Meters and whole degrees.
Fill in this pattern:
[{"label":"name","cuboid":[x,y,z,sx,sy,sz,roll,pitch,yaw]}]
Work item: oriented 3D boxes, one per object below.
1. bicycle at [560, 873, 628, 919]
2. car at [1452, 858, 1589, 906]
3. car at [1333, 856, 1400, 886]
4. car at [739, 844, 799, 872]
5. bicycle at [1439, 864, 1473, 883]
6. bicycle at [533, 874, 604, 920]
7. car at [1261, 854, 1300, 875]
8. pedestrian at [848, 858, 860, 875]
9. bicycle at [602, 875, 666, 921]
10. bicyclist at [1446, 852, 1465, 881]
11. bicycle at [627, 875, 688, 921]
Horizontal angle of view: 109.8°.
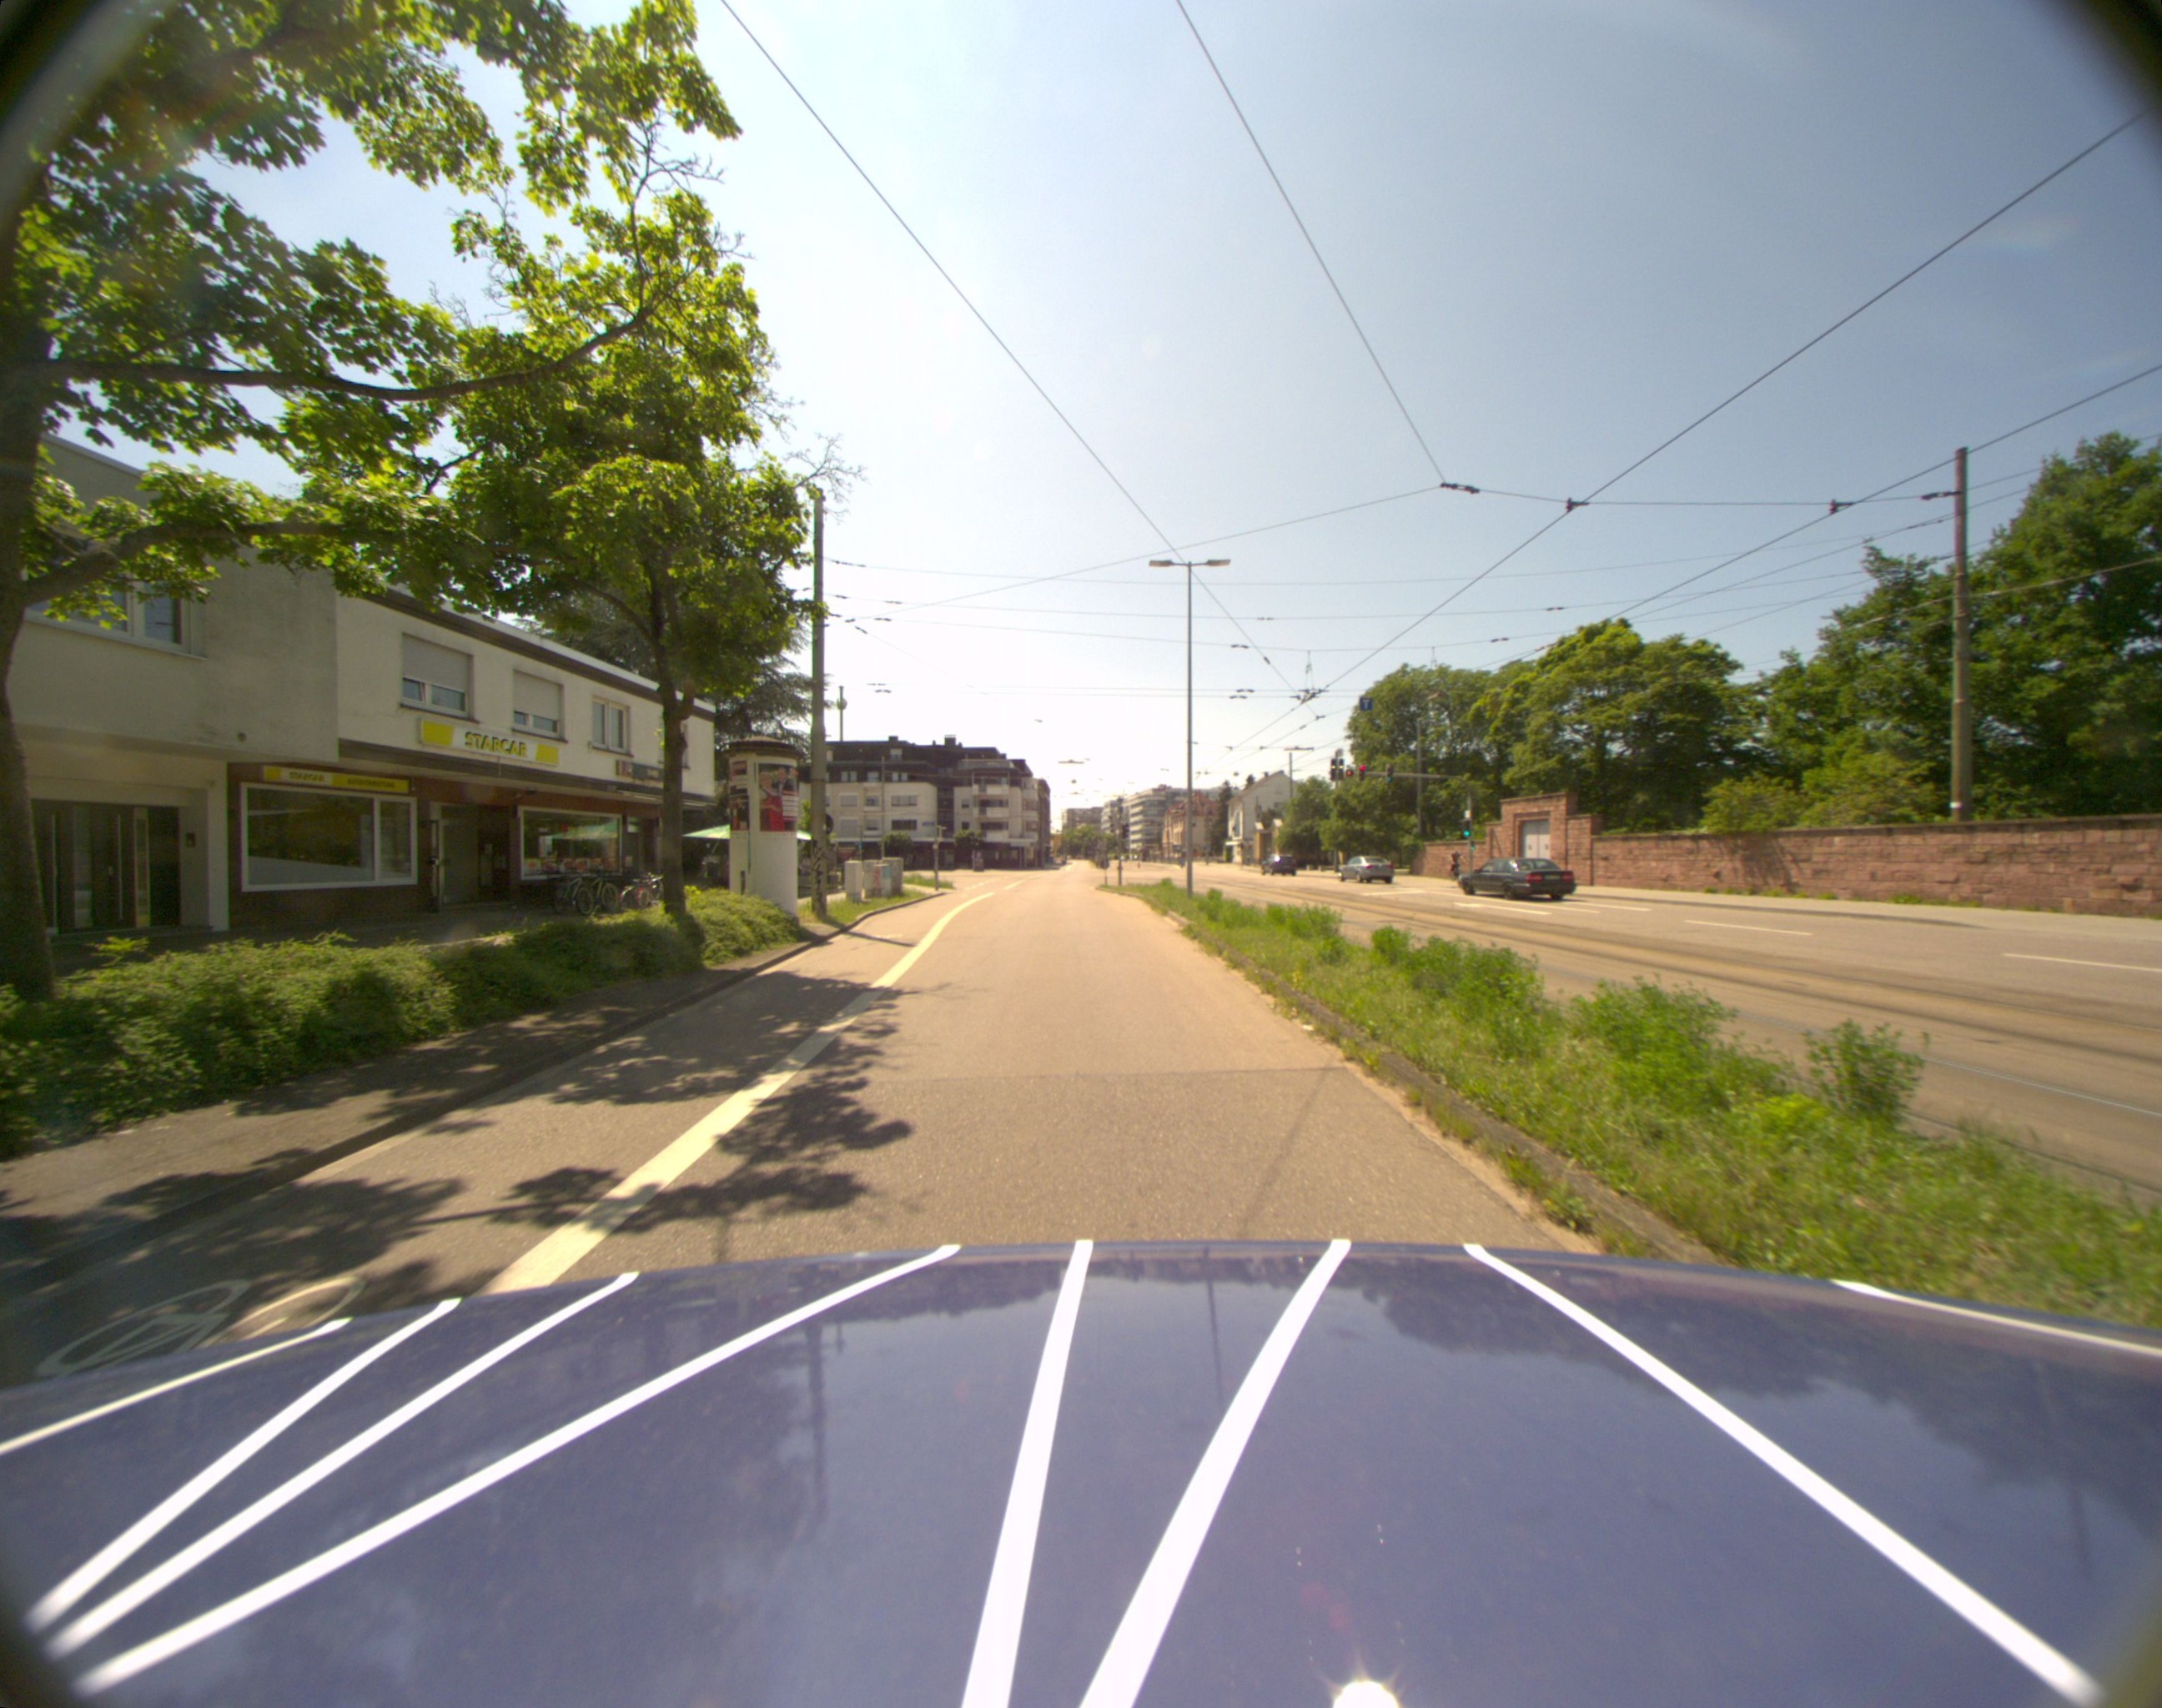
[{"label":"bicycle","cuboid":[-12.337,1.035,19.326,0.544,1.062,2.021,0,0,-4]},{"label":"car","cuboid":[15.152,0.890,26.589,1.845,1.408,5.033,-3,0,1]},{"label":"car","cuboid":[15.356,0.871,41.134,1.845,1.408,4.710,-3,0,1]},{"label":"car","cuboid":[-31.465,0.383,76.732,5.203,2.712,2.001,0,0,-1]},{"label":"bicycle","cuboid":[19.517,1.000,39.582,0.654,0.951,2.114,-1,0,-1]},{"label":"bicycle","cuboid":[-12.938,1.057,19.248,0.544,1.062,2.021,0,0,-4]},{"label":"car","cuboid":[15.277,0.808,58.443,1.845,1.546,4.465,0,0,0]},{"label":"pedestrian","cuboid":[-21.906,1.239,73.221,0.807,1.615,0.943,0,0,6]},{"label":"bicycle","cuboid":[-11.256,1.081,19.191,0.544,1.062,2.021,0,0,-4]},{"label":"bicyclist","cuboid":[19.513,0.623,39.608,0.654,1.488,0.662,-1,0,-1]},{"label":"bicycle","cuboid":[-10.668,1.081,19.209,0.544,1.062,2.021,0,0,-4]}]
